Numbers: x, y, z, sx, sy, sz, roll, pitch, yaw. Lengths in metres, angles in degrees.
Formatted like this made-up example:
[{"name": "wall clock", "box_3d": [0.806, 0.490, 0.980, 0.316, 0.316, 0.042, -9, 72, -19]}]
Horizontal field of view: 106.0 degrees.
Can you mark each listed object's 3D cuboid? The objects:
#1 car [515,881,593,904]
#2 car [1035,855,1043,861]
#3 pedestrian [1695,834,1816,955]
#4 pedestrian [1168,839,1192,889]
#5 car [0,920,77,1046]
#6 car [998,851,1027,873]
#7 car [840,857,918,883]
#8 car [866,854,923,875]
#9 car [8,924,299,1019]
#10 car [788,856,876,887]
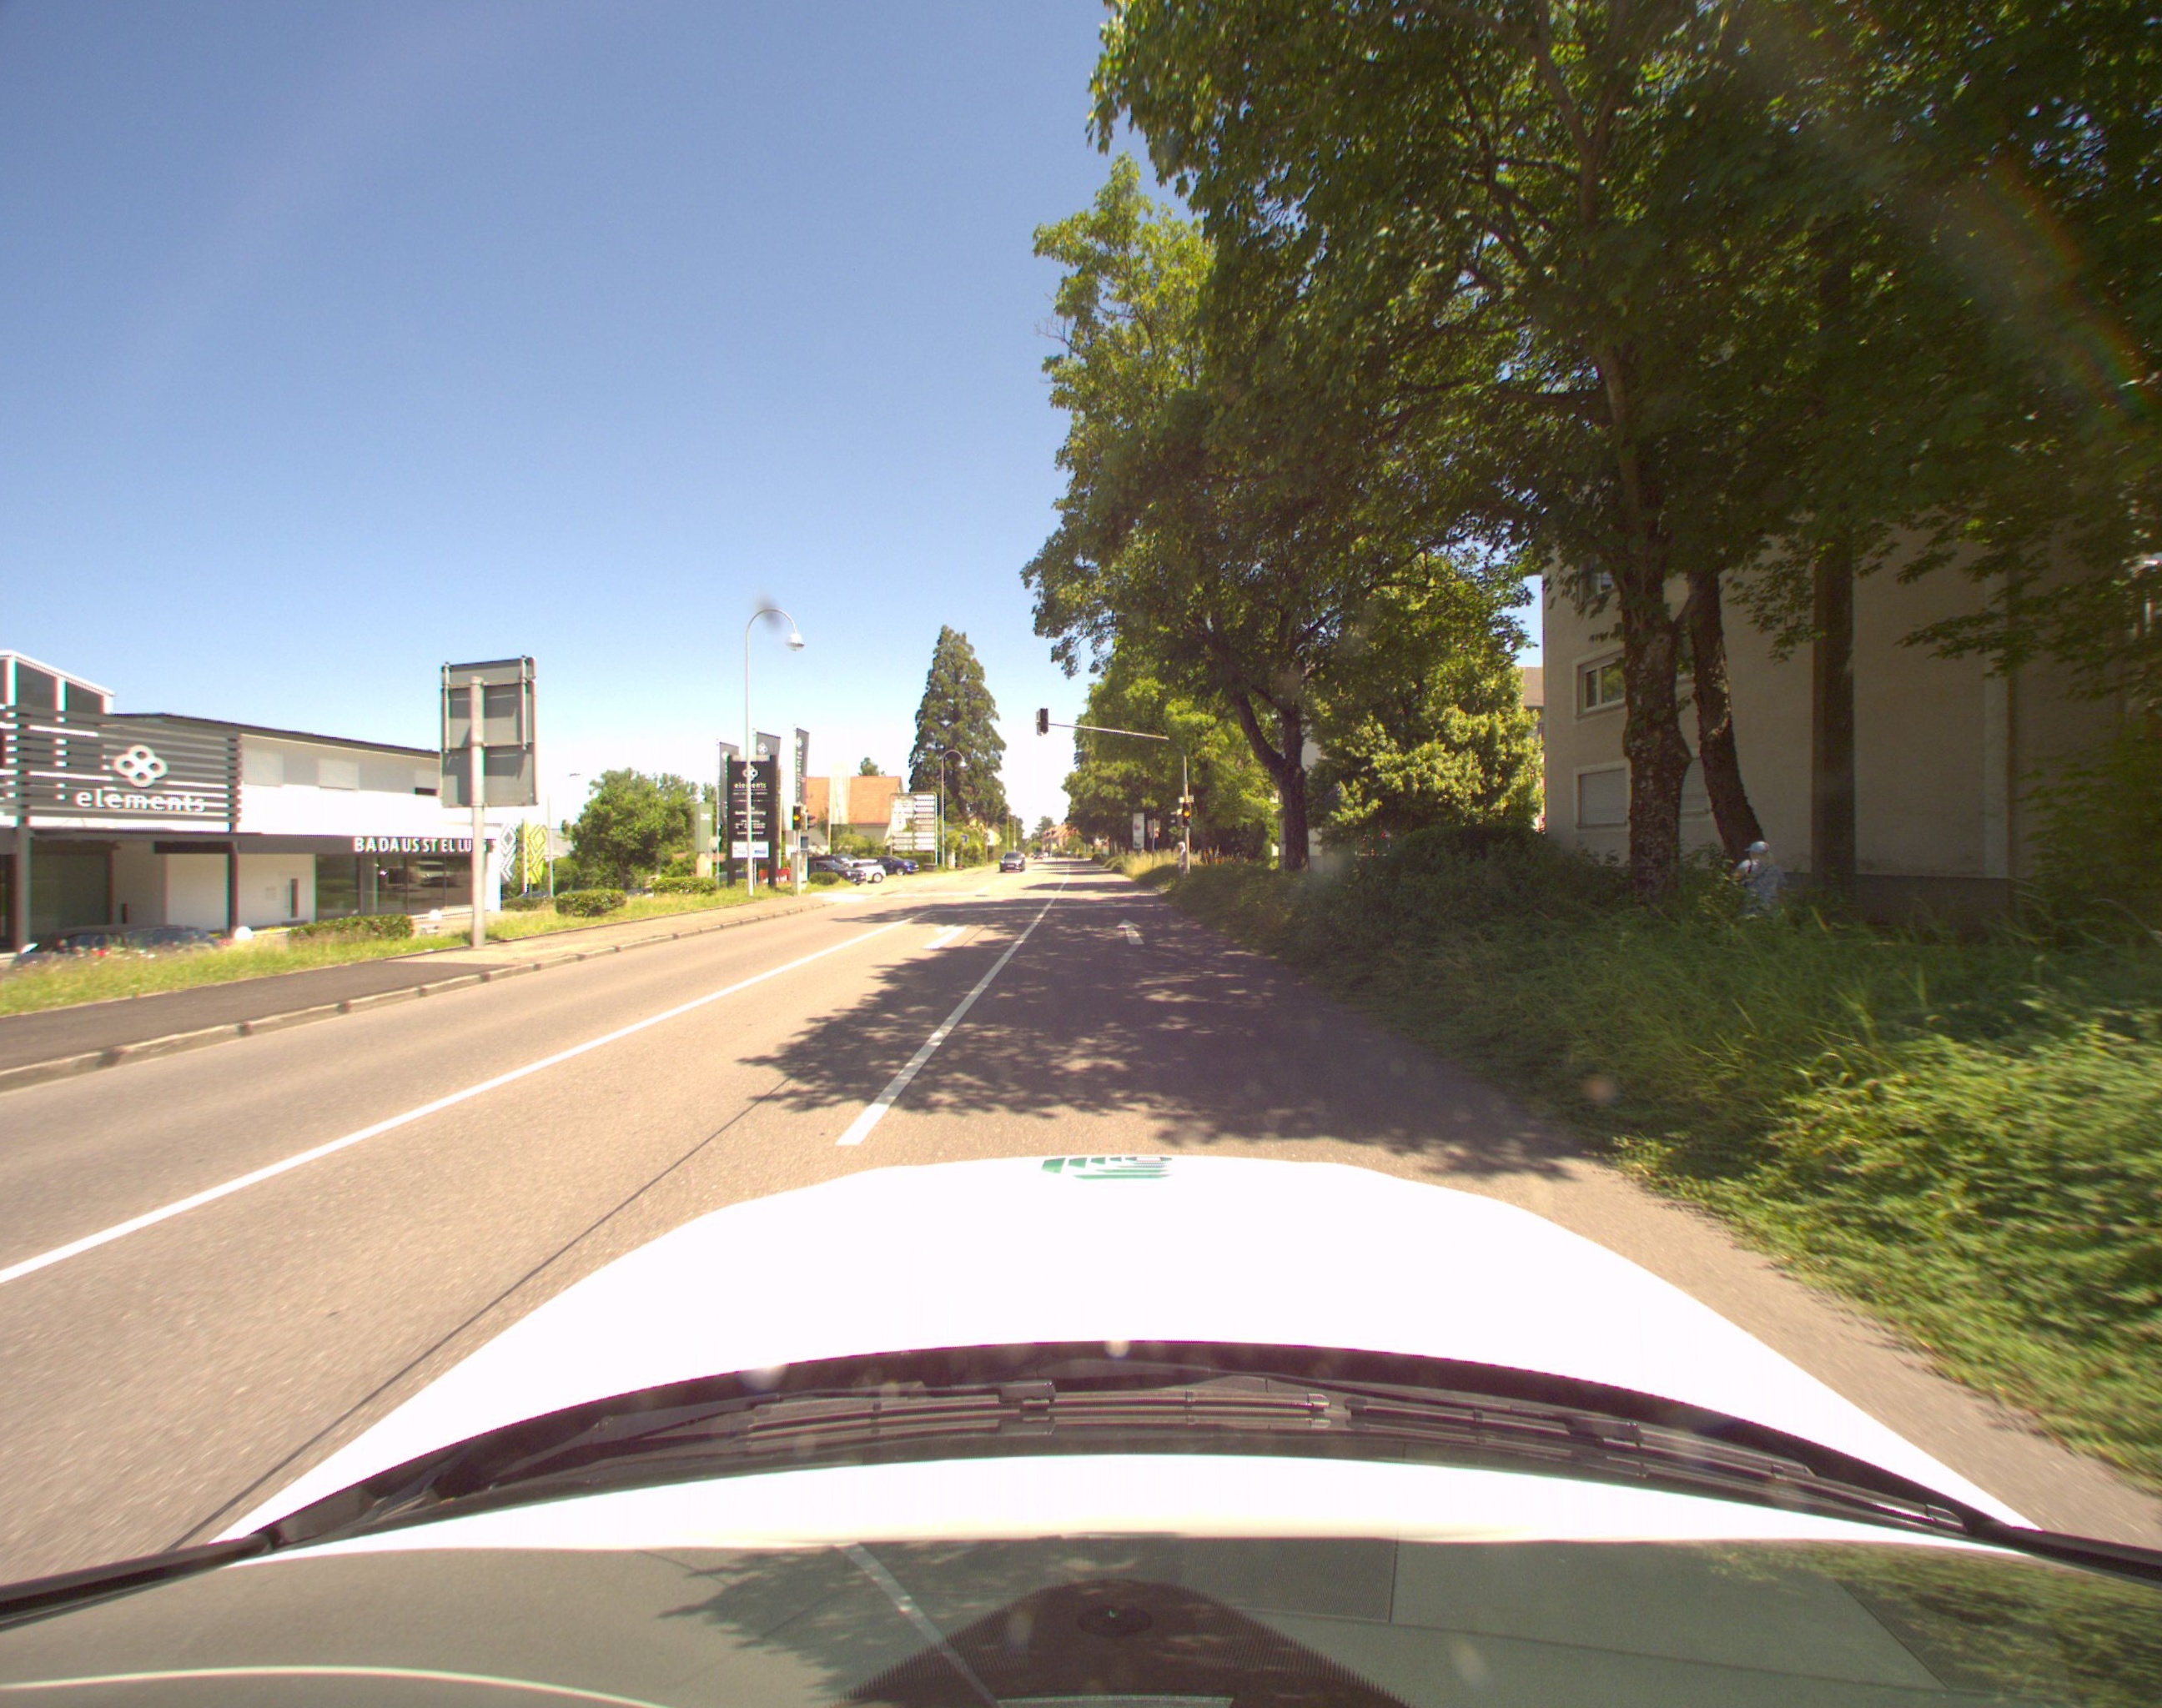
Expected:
[{"name": "car", "box_3d": [-34.436, 2.493, 53.288, 3.973, 1.413, 1.756, -1, 0, 0]}, {"name": "car", "box_3d": [-8.365, 0.785, 162.646, 1.426, 1.322, 3.356, -1, 0, 2]}, {"name": "pedestrian", "box_3d": [7.797, 0.453, 9.452, 0.659, 1.335, 0.889, -1, -1, 1]}, {"name": "pedestrian", "box_3d": [3.474, 0.347, 28.684, 0.565, 1.751, 0.608, 0, -1, -39]}, {"name": "car", "box_3d": [-17.195, 1.851, 11.292, 4.313, 1.686, 1.896, -1, 0, 3]}, {"name": "car", "box_3d": [-5.462, 0.629, 65.603, 1.872, 1.717, 4.311, -1, 0, 1]}, {"name": "car", "box_3d": [-12.445, 0.969, 50.296, 4.321, 1.487, 1.982, -1, 0, -29]}, {"name": "car", "box_3d": [-12.874, 0.731, 56.357, 3.477, 1.427, 1.602, -1, 0, 2]}, {"name": "car", "box_3d": [-16.471, 2.055, 14.581, 3.321, 1.423, 1.783, -1, 0, 5]}, {"name": "car", "box_3d": [-13.823, 0.986, 45.270, 4.259, 1.526, 1.937, -3, -1, 17]}]
